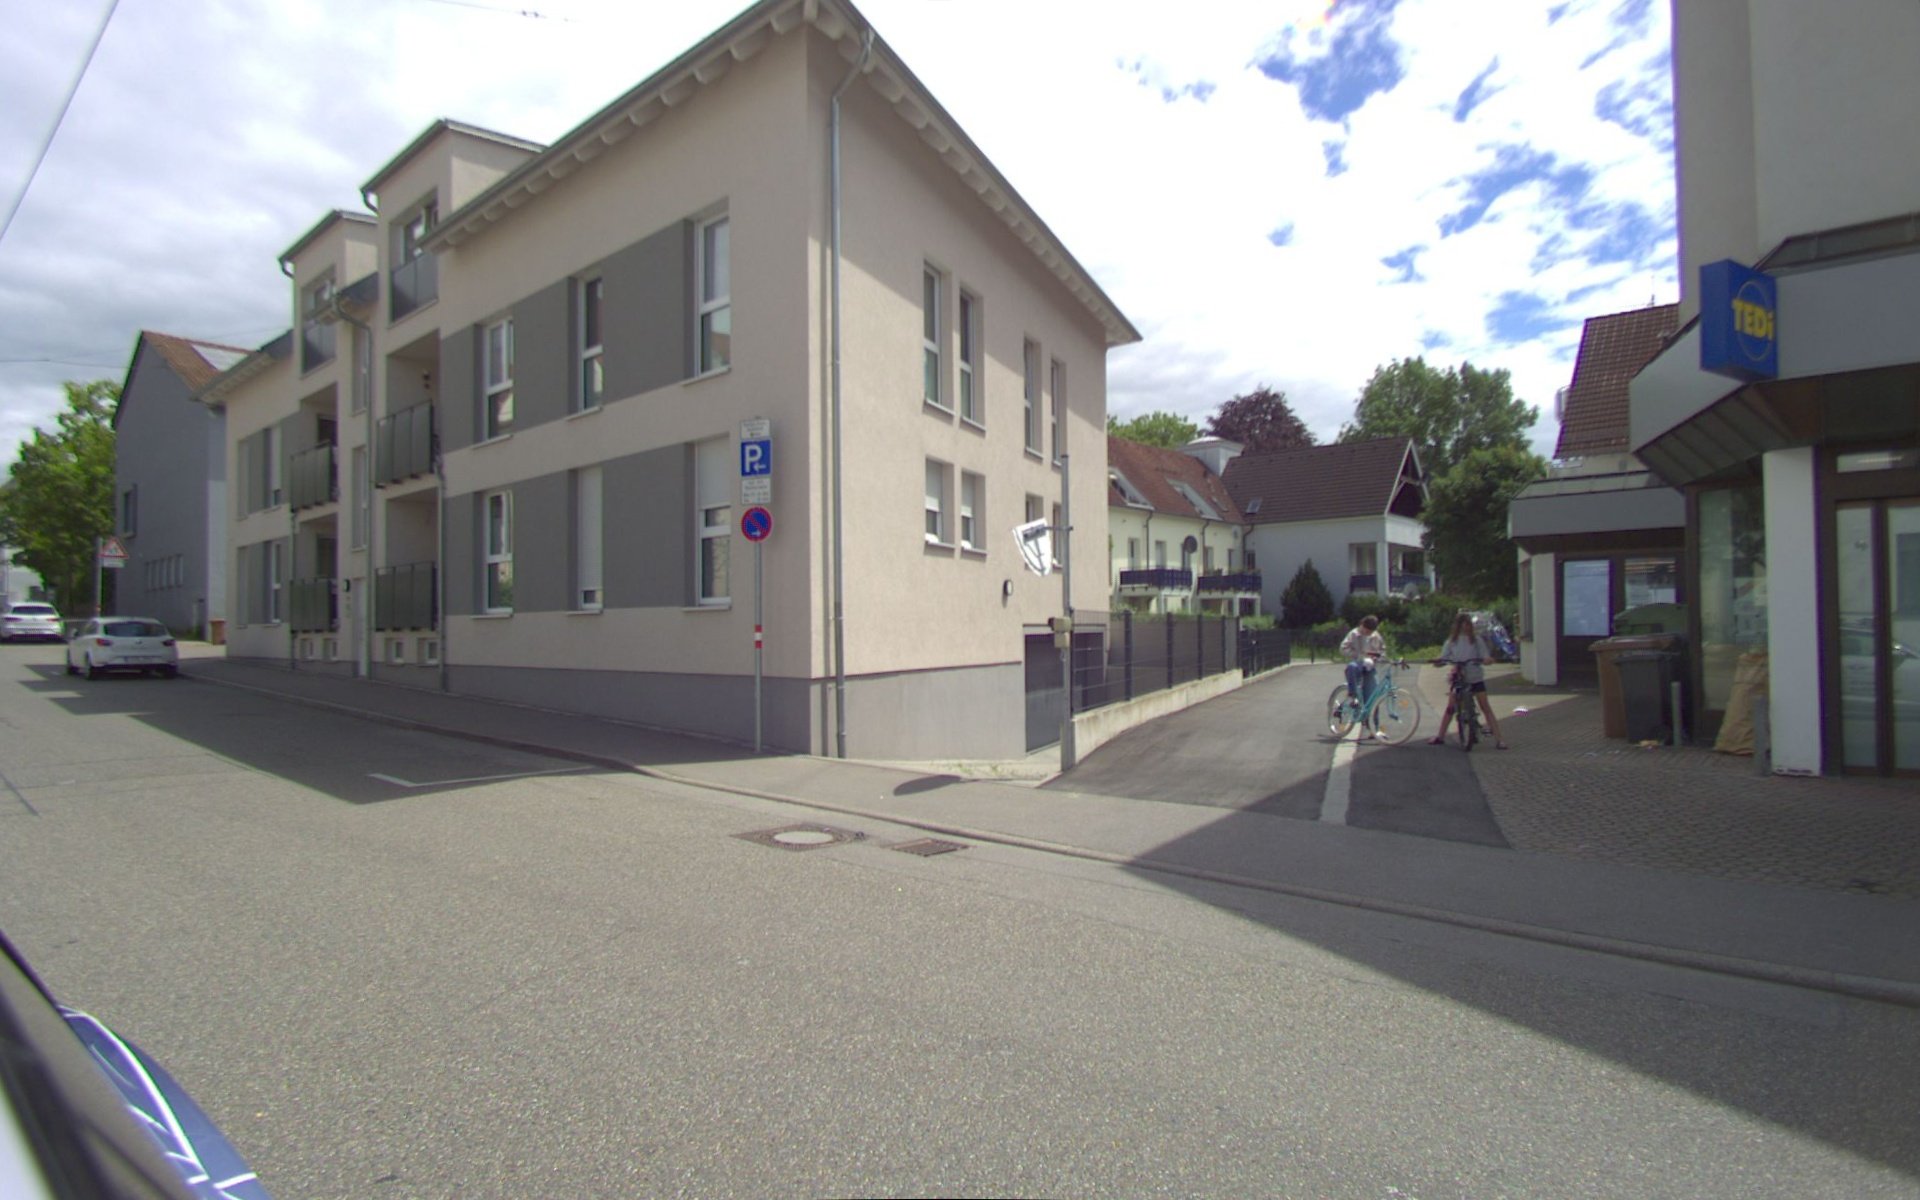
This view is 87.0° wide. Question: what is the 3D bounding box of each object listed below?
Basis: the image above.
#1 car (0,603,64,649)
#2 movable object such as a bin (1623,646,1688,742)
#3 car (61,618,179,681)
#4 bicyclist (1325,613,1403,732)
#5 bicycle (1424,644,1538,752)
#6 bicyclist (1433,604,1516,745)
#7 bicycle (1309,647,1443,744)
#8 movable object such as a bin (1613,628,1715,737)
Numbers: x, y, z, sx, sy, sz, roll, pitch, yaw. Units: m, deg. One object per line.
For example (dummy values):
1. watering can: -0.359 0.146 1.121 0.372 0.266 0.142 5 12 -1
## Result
1. car: -33.471 0.901 36.142 4.066 1.499 1.714 1 -1 42
2. movable object such as a bin: 6.967 0.937 10.141 0.443 0.918 0.403 -5 -3 41
3. car: -20.072 1.136 24.150 3.473 1.340 1.643 0 -2 42
4. bicyclist: 4.377 0.769 10.977 0.631 1.251 0.428 0 -1 -16
5. bicycle: 5.216 0.945 10.231 0.549 0.961 1.685 -2 -2 12
6. bicyclist: 5.218 0.752 10.292 0.583 1.376 0.423 -3 -3 13
7. bicycle: 4.413 0.985 10.859 0.451 0.924 1.593 -1 -2 -13
8. movable object such as a bin: 7.346 0.850 10.557 0.737 1.073 0.677 -5 -3 41
